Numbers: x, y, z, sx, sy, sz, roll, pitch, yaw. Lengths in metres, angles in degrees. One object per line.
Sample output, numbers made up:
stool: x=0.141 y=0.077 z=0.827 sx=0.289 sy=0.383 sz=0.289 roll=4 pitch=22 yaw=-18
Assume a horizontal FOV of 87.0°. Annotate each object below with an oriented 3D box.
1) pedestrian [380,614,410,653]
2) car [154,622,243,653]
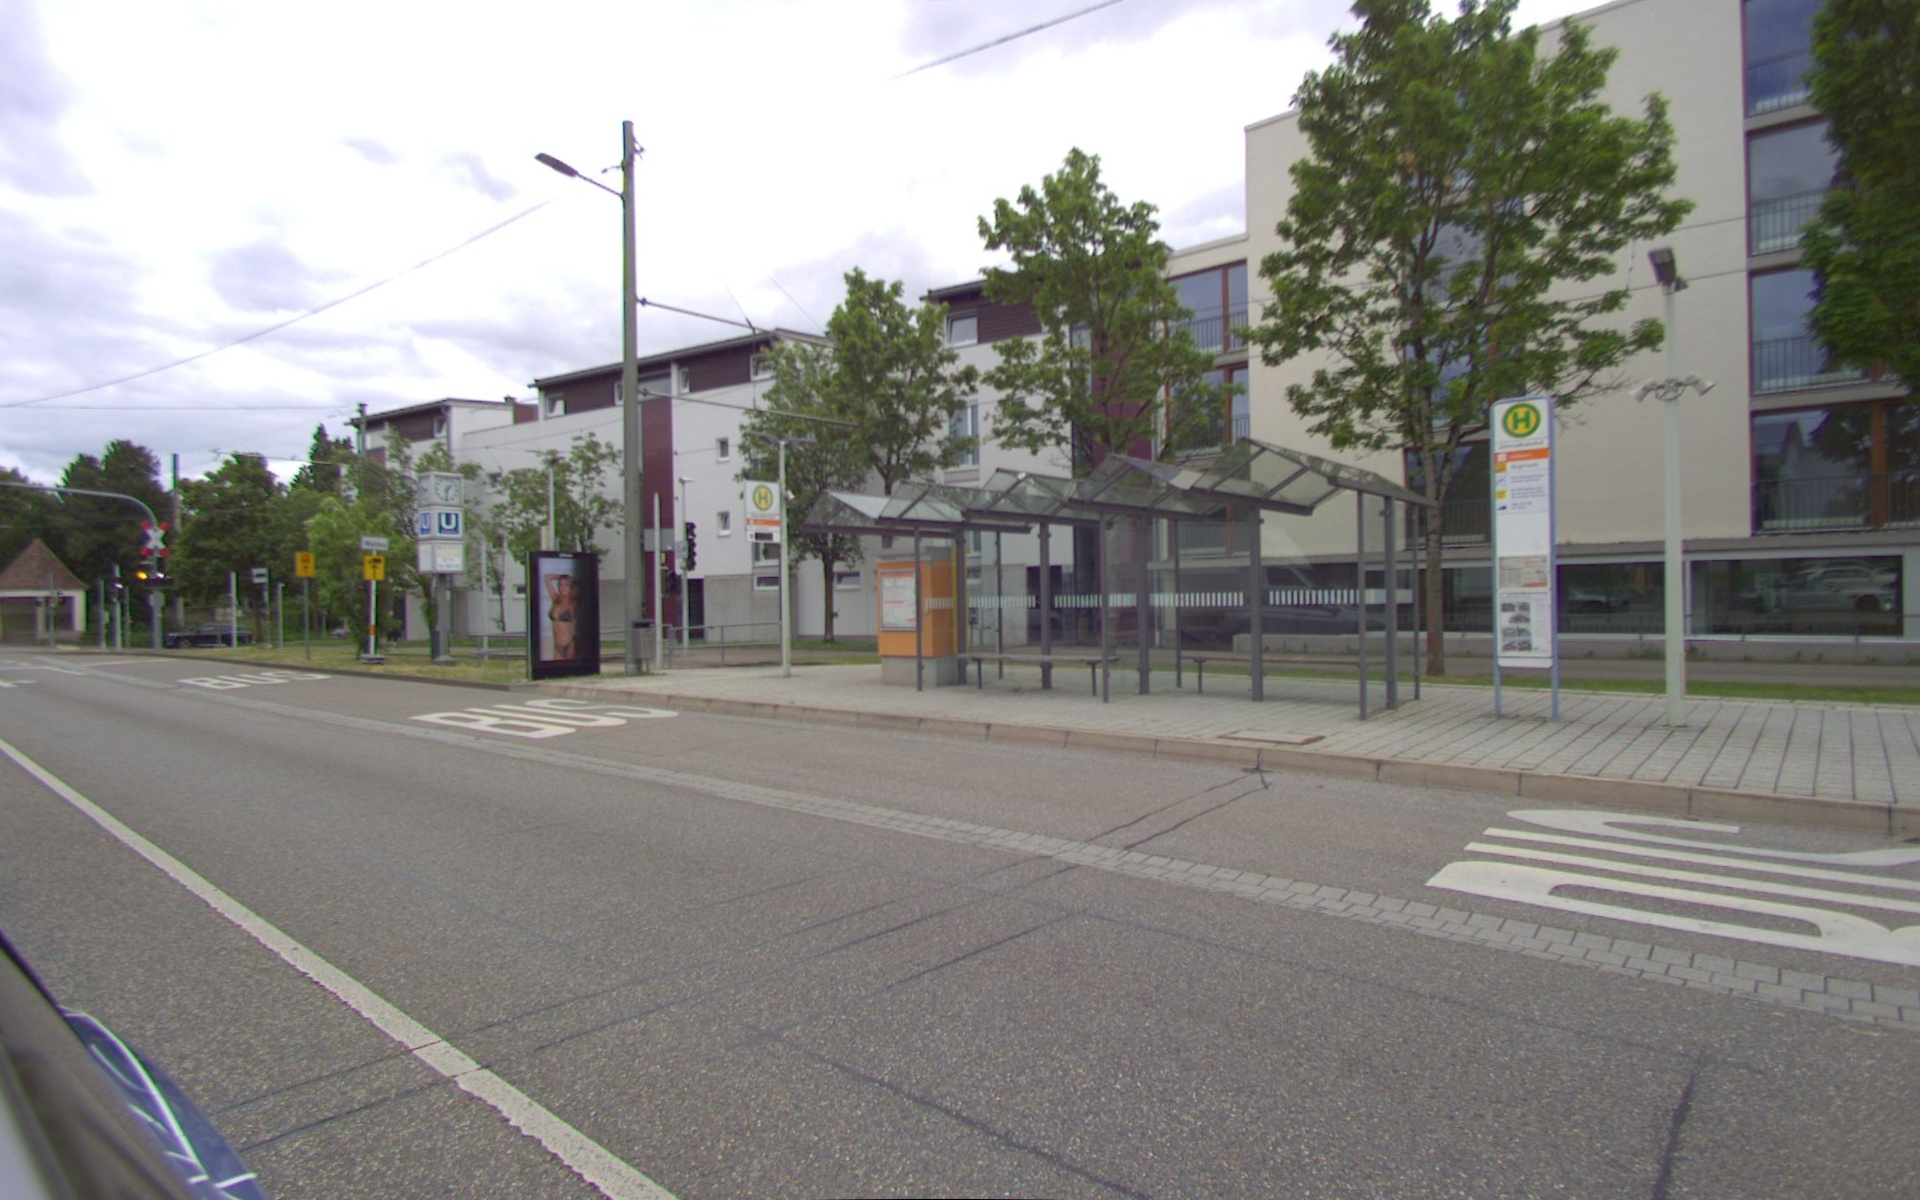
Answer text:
pedestrian: x=-23.588 y=1.388 z=42.255 sx=0.778 sy=1.607 sz=0.773 roll=-1 pitch=0 yaw=32
car: x=-46.559 y=2.281 z=61.931 sx=1.925 sy=1.719 sz=3.950 roll=-1 pitch=0 yaw=37
